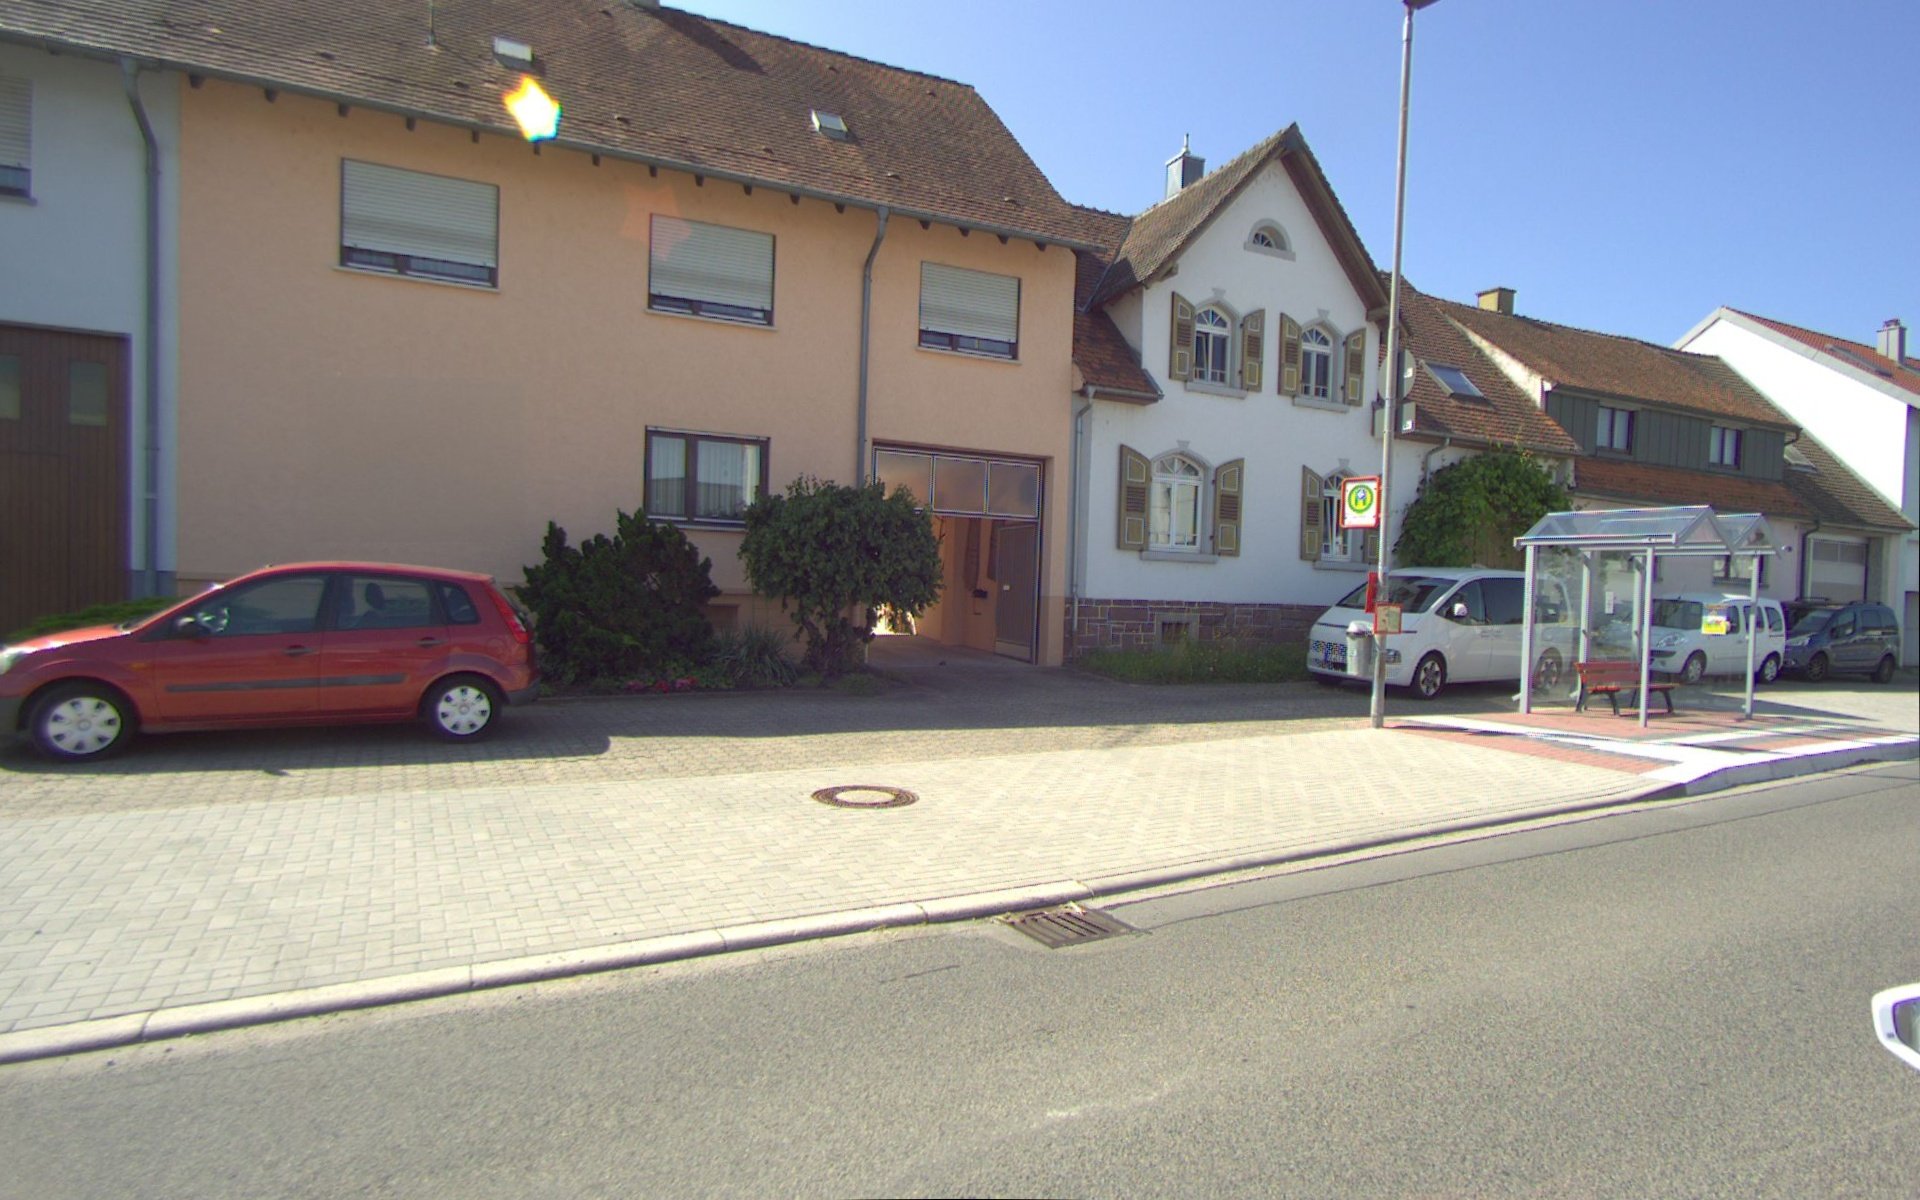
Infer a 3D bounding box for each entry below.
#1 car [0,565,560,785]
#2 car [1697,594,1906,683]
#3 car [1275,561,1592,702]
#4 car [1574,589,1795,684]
[{"bbox_3d":[-5.491,0.493,8.334,3.867,1.473,1.706,0,2,-30],"label":"car"},{"bbox_3d":[19.329,0.883,23.078,4.280,1.817,1.832,2,3,-23],"label":"car"},{"bbox_3d":[7.858,0.510,16.553,5.204,2.013,2.115,2,0,-30],"label":"car"},{"bbox_3d":[15.207,0.772,21.089,4.220,1.798,1.961,2,0,-26],"label":"car"}]
